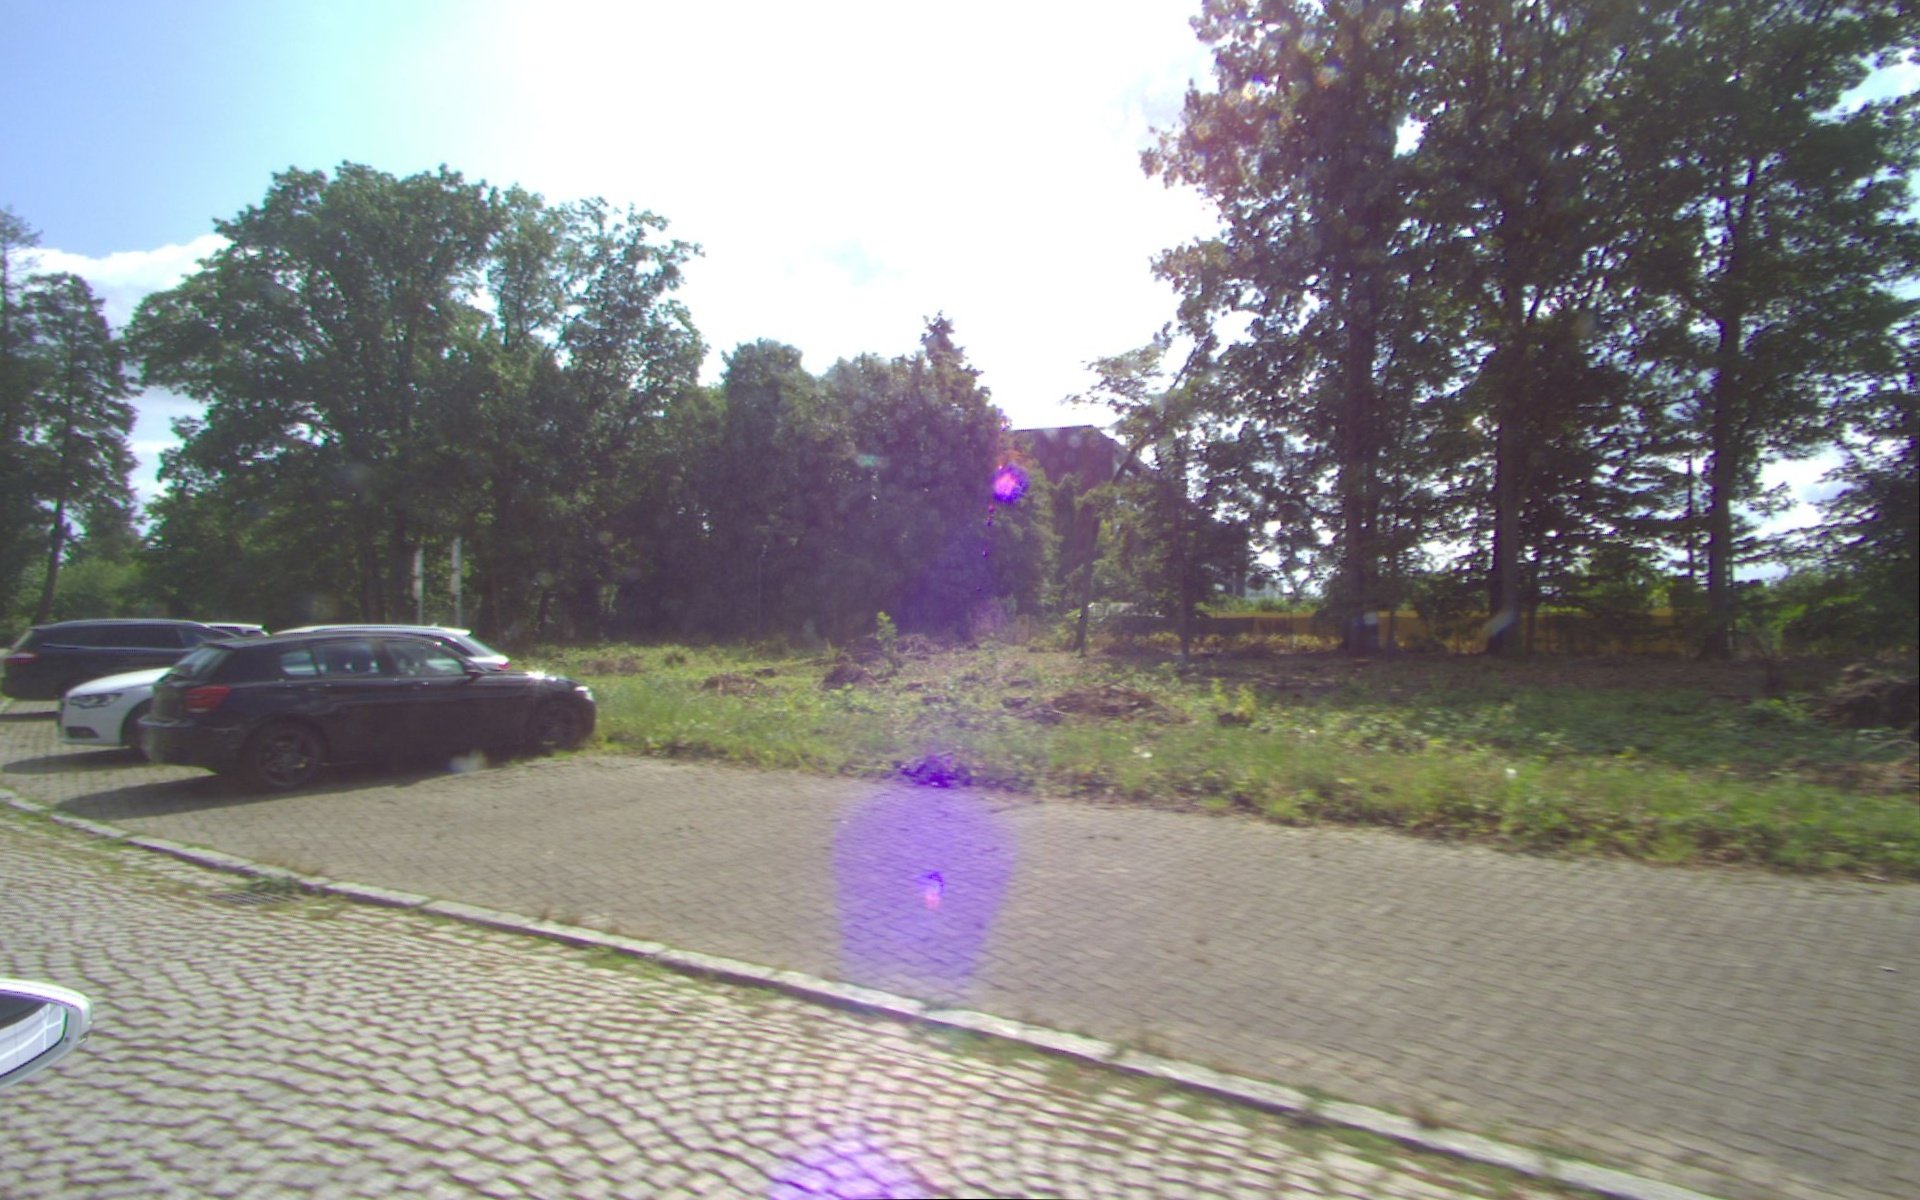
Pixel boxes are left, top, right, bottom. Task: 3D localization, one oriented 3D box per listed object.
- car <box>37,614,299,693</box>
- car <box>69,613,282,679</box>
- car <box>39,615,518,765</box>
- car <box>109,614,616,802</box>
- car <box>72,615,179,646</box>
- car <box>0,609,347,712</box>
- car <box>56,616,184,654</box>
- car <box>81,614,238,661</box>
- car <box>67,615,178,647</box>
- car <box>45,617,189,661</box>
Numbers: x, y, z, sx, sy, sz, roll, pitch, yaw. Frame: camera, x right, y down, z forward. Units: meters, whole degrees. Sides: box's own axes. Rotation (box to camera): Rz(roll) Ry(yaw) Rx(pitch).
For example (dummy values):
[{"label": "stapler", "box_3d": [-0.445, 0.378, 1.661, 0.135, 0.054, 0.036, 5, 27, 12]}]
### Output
[{"label": "car", "box_3d": [-17.176, 1.099, 21.860, 4.369, 1.503, 1.749, 0, -1, -44]}, {"label": "car", "box_3d": [-19.986, 1.128, 25.656, 4.174, 1.503, 1.805, 0, -1, -40]}, {"label": "car", "box_3d": [-8.463, 0.977, 12.787, 4.829, 1.492, 1.856, 0, 0, -44]}, {"label": "car", "box_3d": [-6.086, 0.940, 10.693, 1.807, 1.520, 4.308, 0, 0, 38]}, {"label": "car", "box_3d": [-43.005, 1.570, 51.688, 4.154, 1.503, 1.805, 0, -1, -40]}, {"label": "car", "box_3d": [-13.843, 0.972, 17.730, 4.820, 1.573, 1.862, 0, -1, -44]}, {"label": "car", "box_3d": [-35.946, 1.463, 42.965, 4.154, 1.503, 1.805, 0, -1, -40]}, {"label": "car", "box_3d": [-28.091, 1.285, 35.258, 4.233, 1.503, 1.805, 0, -1, -40]}, {"label": "car", "box_3d": [-41.252, 1.516, 49.415, 4.154, 1.503, 1.805, 0, -1, -40]}, {"label": "car", "box_3d": [-32.371, 1.464, 38.597, 4.154, 1.563, 1.805, 0, -1, -40]}]
